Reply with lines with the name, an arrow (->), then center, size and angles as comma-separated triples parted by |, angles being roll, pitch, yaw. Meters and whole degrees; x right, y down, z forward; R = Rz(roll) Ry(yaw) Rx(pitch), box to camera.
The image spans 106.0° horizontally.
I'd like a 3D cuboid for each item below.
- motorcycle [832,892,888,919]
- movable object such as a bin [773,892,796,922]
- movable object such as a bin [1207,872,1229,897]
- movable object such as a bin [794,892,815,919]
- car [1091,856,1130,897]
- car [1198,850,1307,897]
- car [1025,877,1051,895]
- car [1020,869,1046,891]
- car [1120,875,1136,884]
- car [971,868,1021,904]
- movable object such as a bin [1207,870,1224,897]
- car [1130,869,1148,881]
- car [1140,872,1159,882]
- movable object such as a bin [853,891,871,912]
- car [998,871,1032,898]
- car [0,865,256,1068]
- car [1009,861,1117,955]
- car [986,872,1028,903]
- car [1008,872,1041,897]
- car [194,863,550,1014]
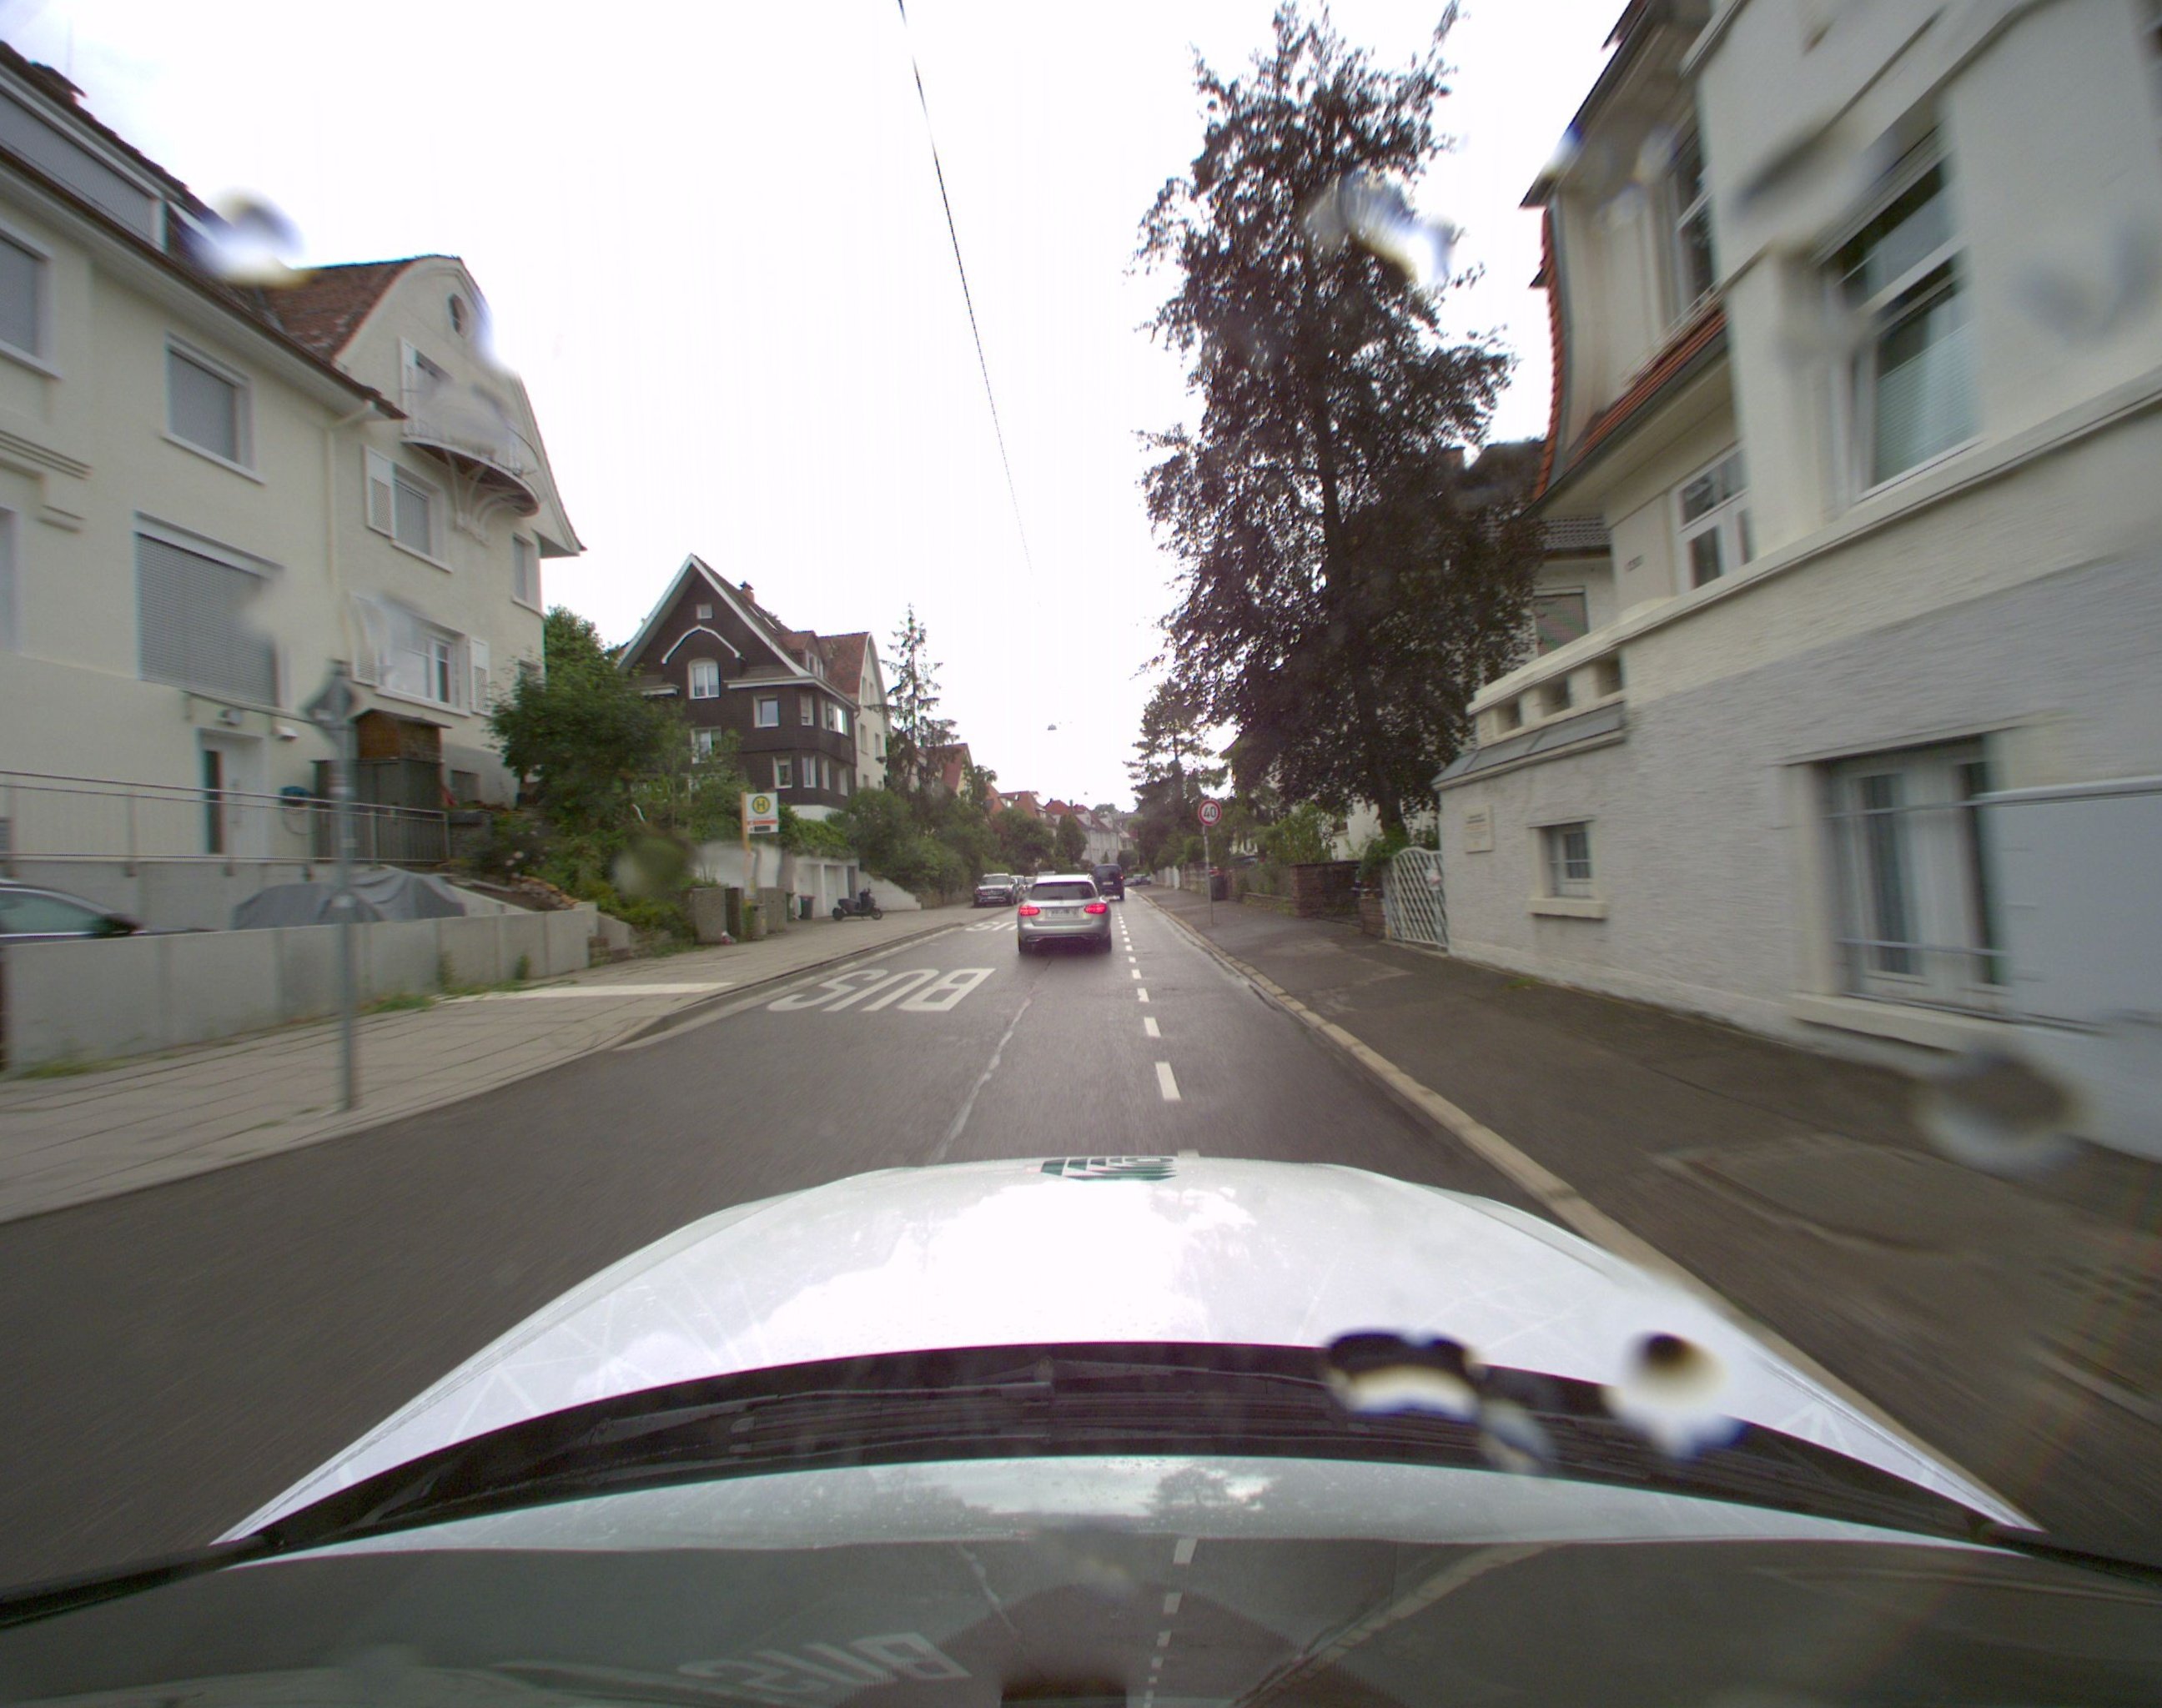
motorcycle -> -7.819, 1.810, 28.839 | 1.788, 0.903, 0.603 | -1, -2, 0
movable object such as a bin -> -10.287, 1.833, 28.251 | 0.572, 0.954, 0.512 | -3, 0, -3
movable object such as a bin -> 4.892, 1.088, 29.123 | 0.649, 0.855, 0.503 | -3, 0, -1
movable object such as a bin -> -10.214, 1.906, 30.113 | 0.572, 0.954, 0.512 | -3, 0, -3
car -> 1.513, 1.178, 41.911 | 1.836, 1.904, 4.000 | -2, -2, 1
car -> 6.845, 0.743, 32.806 | 3.973, 1.640, 1.919 | -3, 0, 1
car -> -3.578, 2.669, 68.365 | 1.688, 1.447, 3.815 | -3, -2, 2
car -> -3.696, 2.006, 63.120 | 1.640, 1.447, 3.629 | -3, 0, 1
car -> 7.988, 4.254, 136.895 | 1.631, 1.417, 4.632 | -3, -2, 16
car -> -4.191, 1.559, 40.685 | 1.886, 1.622, 4.379 | -3, -1, 1
movable object such as a bin -> 4.895, 1.061, 29.699 | 0.492, 0.956, 0.503 | -3, 0, -1
car -> 10.120, 3.724, 142.795 | 1.814, 2.056, 5.033 | -3, -2, 19
car -> 12.584, 4.194, 148.888 | 1.976, 1.688, 4.702 | -3, 0, 22
movable object such as a bin -> -10.110, 2.187, 37.542 | 0.625, 0.889, 0.482 | -3, 0, -43
car -> -4.026, 1.855, 50.216 | 1.691, 1.541, 3.814 | -3, -1, 1
car -> -9.696, 0.974, 6.700 | 1.761, 1.618, 3.996 | -3, 0, -3
car -> -0.338, 0.978, 16.161 | 1.811, 1.556, 3.998 | -2, -1, -1
car -> -4.108, 1.846, 45.677 | 1.887, 1.447, 3.814 | -3, 0, 1
car -> -3.814, 2.017, 55.298 | 1.750, 1.447, 4.417 | -3, 0, 1
car -> -9.992, 1.052, 11.990 | 1.761, 1.696, 3.996 | -3, 0, -3
